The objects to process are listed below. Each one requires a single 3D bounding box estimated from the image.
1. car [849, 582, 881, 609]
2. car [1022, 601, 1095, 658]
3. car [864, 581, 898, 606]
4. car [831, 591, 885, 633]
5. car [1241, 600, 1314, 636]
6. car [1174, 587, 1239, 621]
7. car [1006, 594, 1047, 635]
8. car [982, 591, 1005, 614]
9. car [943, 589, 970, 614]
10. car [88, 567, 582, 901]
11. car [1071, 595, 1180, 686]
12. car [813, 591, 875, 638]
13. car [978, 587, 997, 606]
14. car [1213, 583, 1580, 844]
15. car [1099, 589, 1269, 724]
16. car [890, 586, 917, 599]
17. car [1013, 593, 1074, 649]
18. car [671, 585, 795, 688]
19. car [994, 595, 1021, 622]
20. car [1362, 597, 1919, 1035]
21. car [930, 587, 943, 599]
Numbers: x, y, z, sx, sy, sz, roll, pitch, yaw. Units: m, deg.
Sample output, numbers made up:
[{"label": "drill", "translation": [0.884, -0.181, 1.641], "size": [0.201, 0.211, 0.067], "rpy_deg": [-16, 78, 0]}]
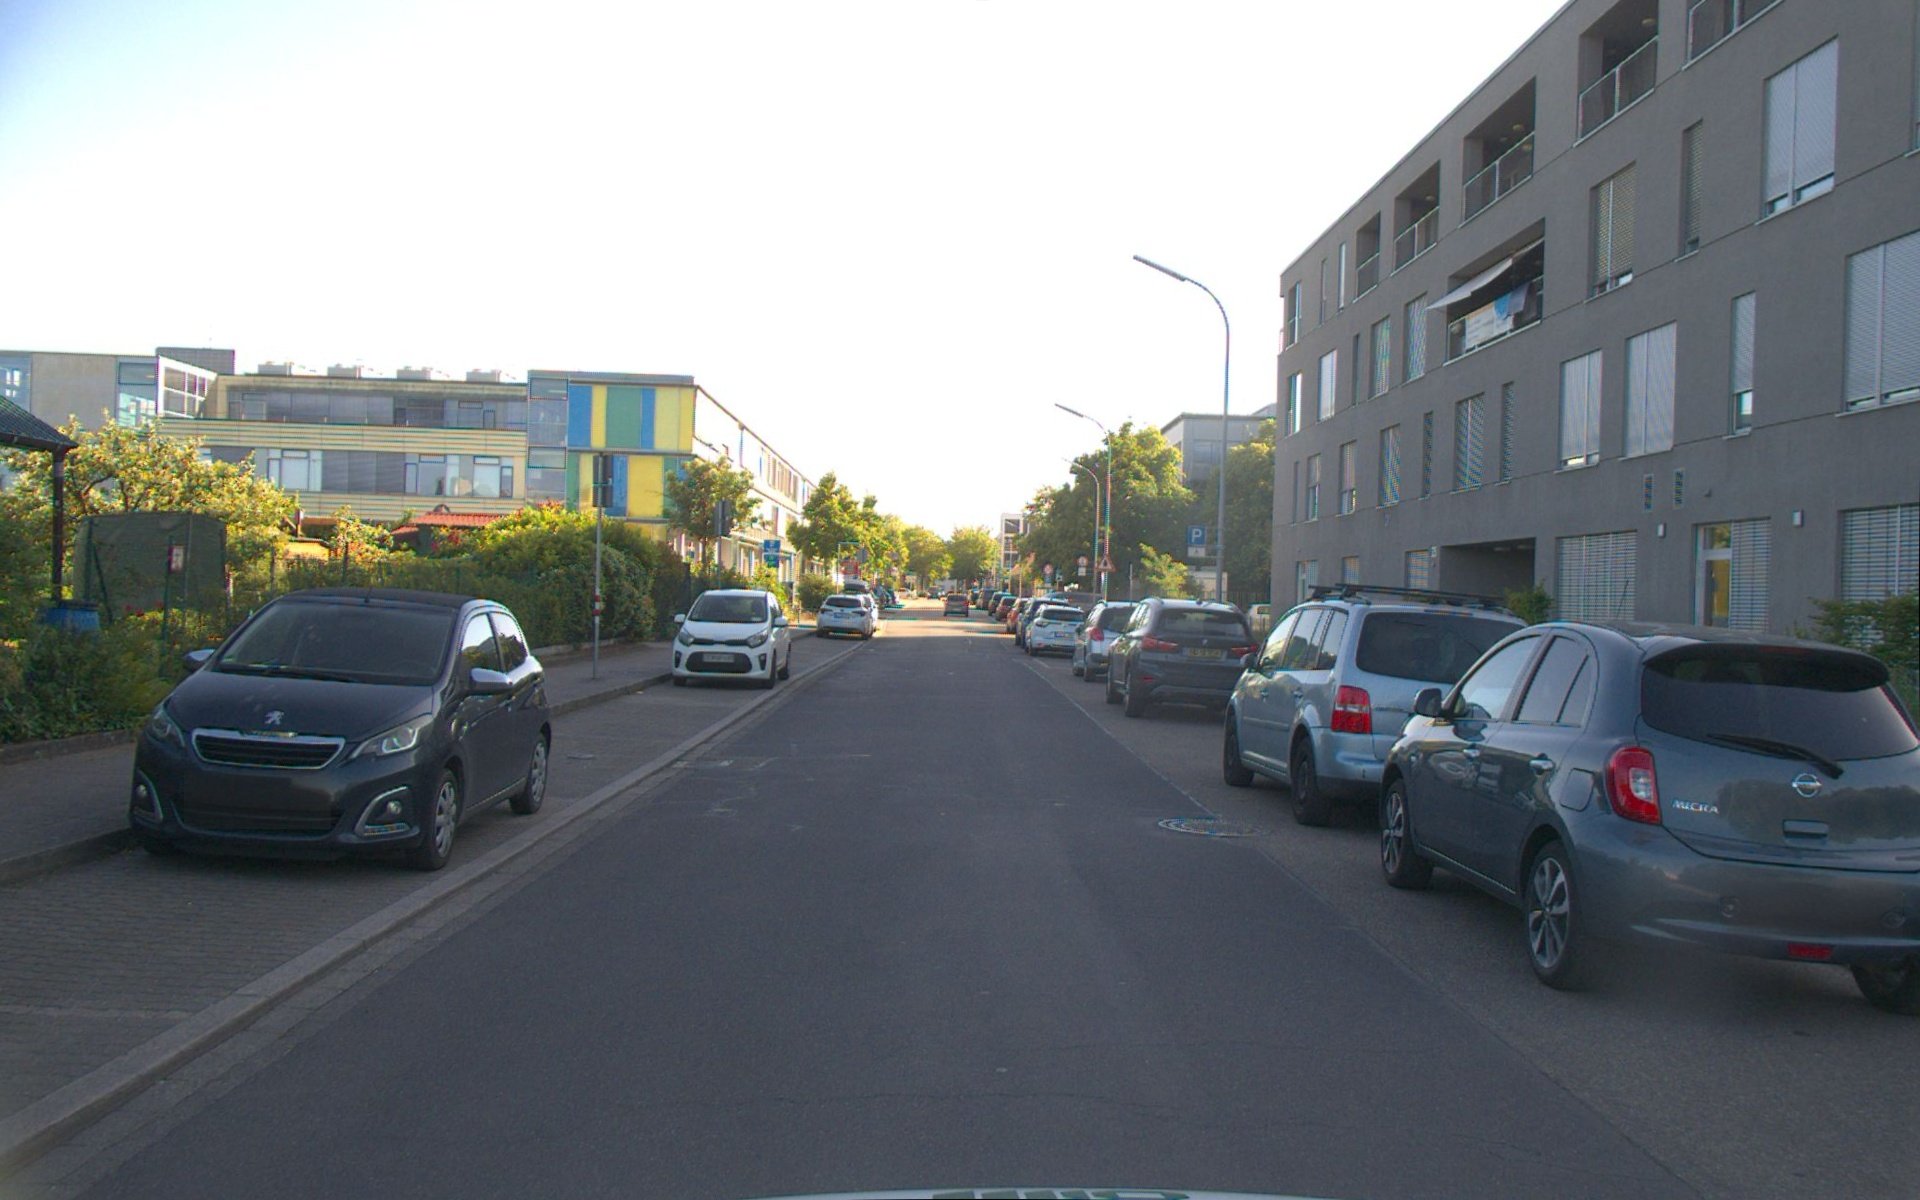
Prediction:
[{"label": "car", "translation": [-6.152, -0.298, 107.174], "size": [1.817, 1.590, 4.133], "rpy_deg": [3, 0, -1]}, {"label": "car", "translation": [2.780, 0.810, 47.360], "size": [1.706, 1.453, 4.133], "rpy_deg": [3, 0, -1]}, {"label": "car", "translation": [-5.494, -0.458, 115.541], "size": [1.816, 1.590, 4.136], "rpy_deg": [3, 0, 4]}, {"label": "car", "translation": [-3.930, 0.444, 64.275], "size": [1.817, 1.453, 4.133], "rpy_deg": [3, 0, -1]}, {"label": "car", "translation": [14.950, 0.830, 78.028], "size": [3.149, 1.486, 1.450], "rpy_deg": [3, 0, 2]}, {"label": "car", "translation": [12.856, 0.199, 86.388], "size": [3.149, 1.576, 1.450], "rpy_deg": [3, 0, 2]}, {"label": "car", "translation": [2.791, 0.581, 69.686], "size": [1.416, 1.576, 3.613], "rpy_deg": [3, 0, -2]}, {"label": "car", "translation": [2.403, 0.167, 118.086], "size": [1.416, 1.576, 3.613], "rpy_deg": [3, 0, -2]}, {"label": "car", "translation": [-0.230, 0.089, 110.375], "size": [1.655, 1.576, 3.613], "rpy_deg": [3, 0, -2]}, {"label": "car", "translation": [-3.465, 0.653, 9.884], "size": [1.528, 1.520, 3.570], "rpy_deg": [4, 0, -1]}, {"label": "car", "translation": [3.199, 0.748, 32.515], "size": [1.623, 1.578, 3.850], "rpy_deg": [3, 0, -1]}, {"label": "car", "translation": [-3.902, 0.471, 56.278], "size": [1.817, 1.453, 4.133], "rpy_deg": [3, 0, -1]}, {"label": "car", "translation": [2.394, -0.331, 143.494], "size": [1.416, 1.576, 3.613], "rpy_deg": [3, 0, -2]}, {"label": "car", "translation": [3.251, 0.755, 13.188], "size": [1.643, 1.636, 4.177], "rpy_deg": [4, 0, -1]}, {"label": "car", "translation": [3.079, 0.722, 23.518], "size": [1.706, 1.653, 4.178], "rpy_deg": [3, 0, -1]}, {"label": "car", "translation": [-7.884, -1.068, 230.795], "size": [3.533, 1.576, 1.448], "rpy_deg": [3, 0, -6]}, {"label": "car", "translation": [2.661, 0.648, 53.460], "size": [1.599, 1.658, 3.613], "rpy_deg": [3, 0, -2]}, {"label": "car", "translation": [-3.622, 0.554, 26.927], "size": [1.528, 1.521, 3.758], "rpy_deg": [1, 0, -1]}, {"label": "car", "translation": [2.908, 0.523, 102.089], "size": [1.416, 1.576, 3.613], "rpy_deg": [3, 0, -2]}, {"label": "car", "translation": [3.275, 0.817, 8.117], "size": [1.589, 1.553, 3.901], "rpy_deg": [4, 0, 0]}, {"label": "car", "translation": [-3.346, -1.035, 233.049], "size": [1.630, 1.576, 3.901], "rpy_deg": [3, 0, -2]}]
